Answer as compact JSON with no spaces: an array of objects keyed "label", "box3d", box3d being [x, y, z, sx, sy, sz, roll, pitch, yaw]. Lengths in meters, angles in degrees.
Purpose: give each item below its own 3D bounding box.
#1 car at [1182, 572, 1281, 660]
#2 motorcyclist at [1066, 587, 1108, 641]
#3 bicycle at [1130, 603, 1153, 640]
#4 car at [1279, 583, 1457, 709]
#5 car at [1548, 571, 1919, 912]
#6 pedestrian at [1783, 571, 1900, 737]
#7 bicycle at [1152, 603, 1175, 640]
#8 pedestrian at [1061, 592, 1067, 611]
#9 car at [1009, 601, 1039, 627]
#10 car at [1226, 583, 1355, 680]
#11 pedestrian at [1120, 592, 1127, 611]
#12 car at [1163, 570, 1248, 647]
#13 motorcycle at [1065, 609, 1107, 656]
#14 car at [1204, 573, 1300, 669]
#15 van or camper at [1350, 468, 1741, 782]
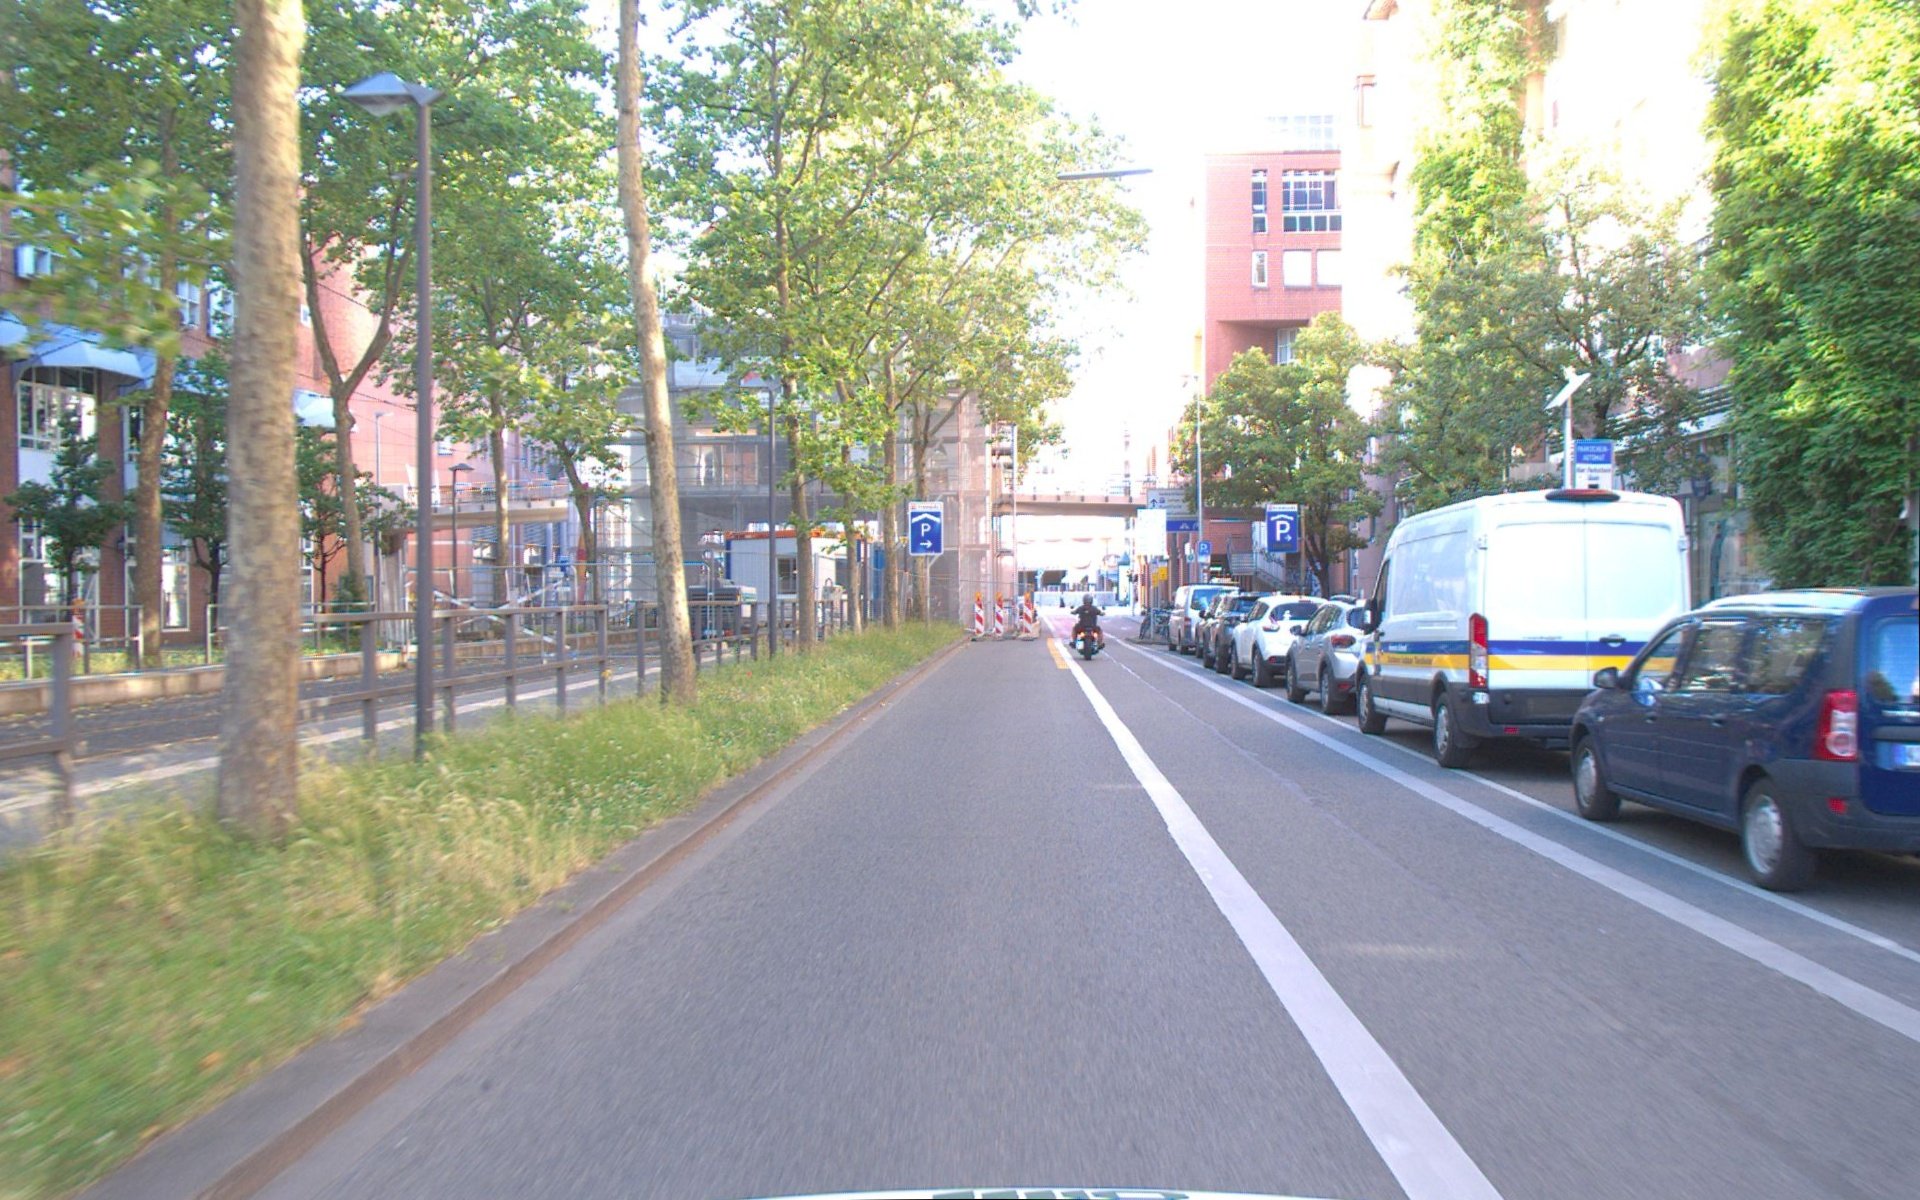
[{"label":"car","box3d":[6.620,0.365,40.719,1.797,2.049,4.388,-1,0,1]},{"label":"motorcyclist","box3d":[3.152,0.347,40.893,0.990,1.285,0.774,2,0,5]},{"label":"bicycle","box3d":[6.402,0.747,58.390,0.650,1.256,2.229,0,0,3]},{"label":"car","box3d":[5.699,0.599,23.503,1.587,1.631,3.774,-1,0,0]},{"label":"car","box3d":[5.196,0.670,10.234,1.587,1.647,4.486,-1,0,1]},{"label":"pedestrian","box3d":[8.037,0.477,15.107,0.749,1.471,0.781,0,-1,12]},{"label":"bicycle","box3d":[7.169,0.751,58.330,0.650,1.256,2.229,0,0,3]},{"label":"pedestrian","box3d":[10.357,0.154,164.423,0.530,1.914,0.529,0,0,7]},{"label":"car","box3d":[4.375,0.920,113.415,1.814,1.747,3.999,-1,0,-2]},{"label":"car","box3d":[5.942,0.528,30.129,1.587,1.638,3.774,-1,0,0]},{"label":"pedestrian","box3d":[16.117,0.135,163.056,0.530,1.914,0.529,0,0,14]},{"label":"car","box3d":[6.888,0.219,46.777,1.797,2.049,4.388,-1,0,1]},{"label":"motorcycle","box3d":[3.122,0.787,40.902,0.996,1.116,2.009,0,0,5]},{"label":"car","box3d":[6.071,0.418,34.697,1.586,1.898,3.776,-1,0,4]},{"label":"van or camper","box3d":[5.524,0.198,16.573,2.006,2.585,5.774,-1,0,2]}]
